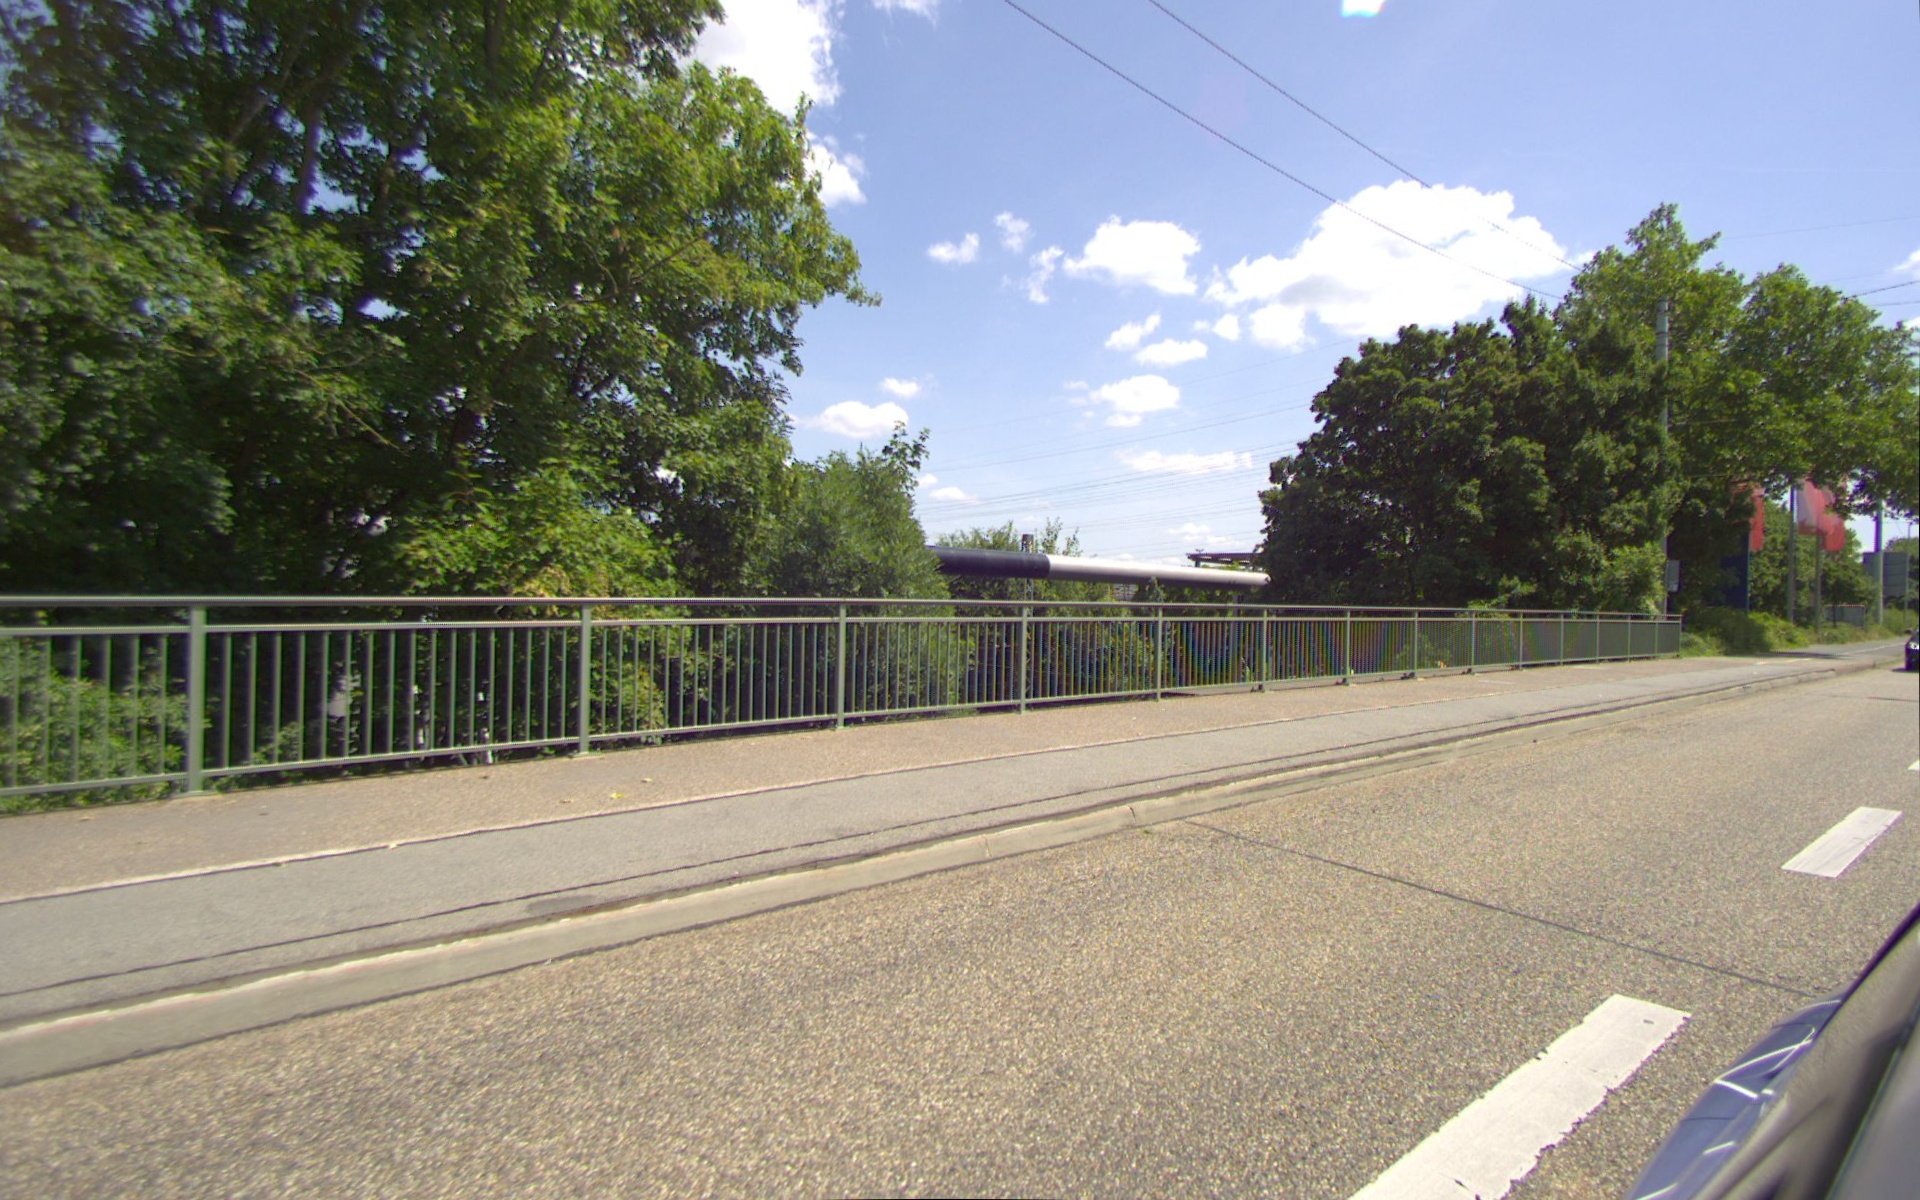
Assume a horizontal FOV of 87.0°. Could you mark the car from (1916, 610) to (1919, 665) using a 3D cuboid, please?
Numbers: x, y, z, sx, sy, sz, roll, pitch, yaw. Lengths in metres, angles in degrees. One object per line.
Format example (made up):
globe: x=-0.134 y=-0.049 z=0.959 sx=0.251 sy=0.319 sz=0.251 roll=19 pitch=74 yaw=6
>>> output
car: x=27.558 y=1.033 z=27.662 sx=3.931 sy=1.449 sz=1.769 roll=1 pitch=-1 yaw=-42
